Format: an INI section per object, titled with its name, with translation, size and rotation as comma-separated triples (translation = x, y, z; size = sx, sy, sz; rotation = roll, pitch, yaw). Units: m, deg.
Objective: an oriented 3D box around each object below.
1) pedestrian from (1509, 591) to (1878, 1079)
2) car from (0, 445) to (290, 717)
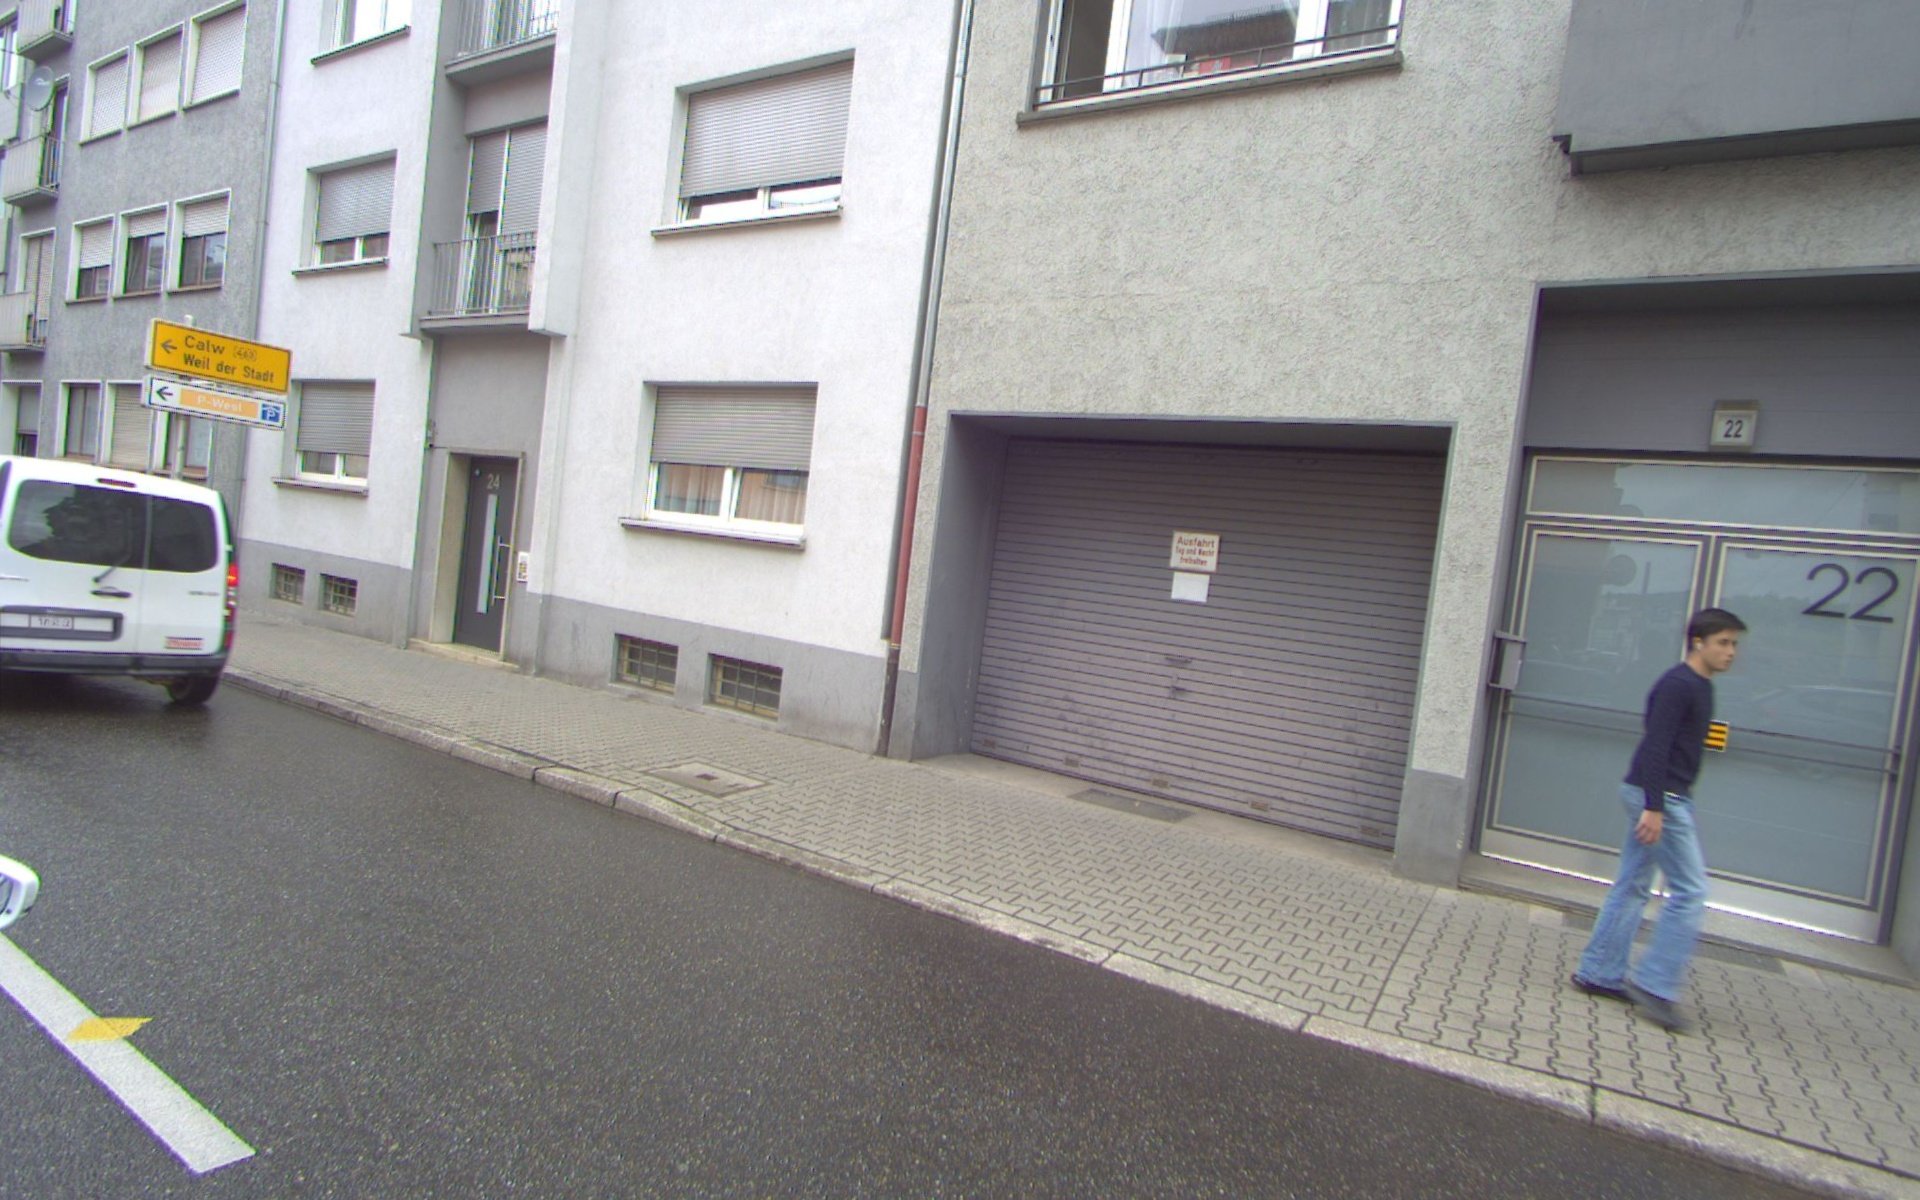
[pedestrian]
translation = 3.104, 0.915, 4.391
size = 1.039, 1.802, 0.643
rotation = 7, 4, 31
[car]
translation = -7.967, -0.283, 8.484
size = 4.667, 1.796, 1.943
rotation = 7, -1, 31
